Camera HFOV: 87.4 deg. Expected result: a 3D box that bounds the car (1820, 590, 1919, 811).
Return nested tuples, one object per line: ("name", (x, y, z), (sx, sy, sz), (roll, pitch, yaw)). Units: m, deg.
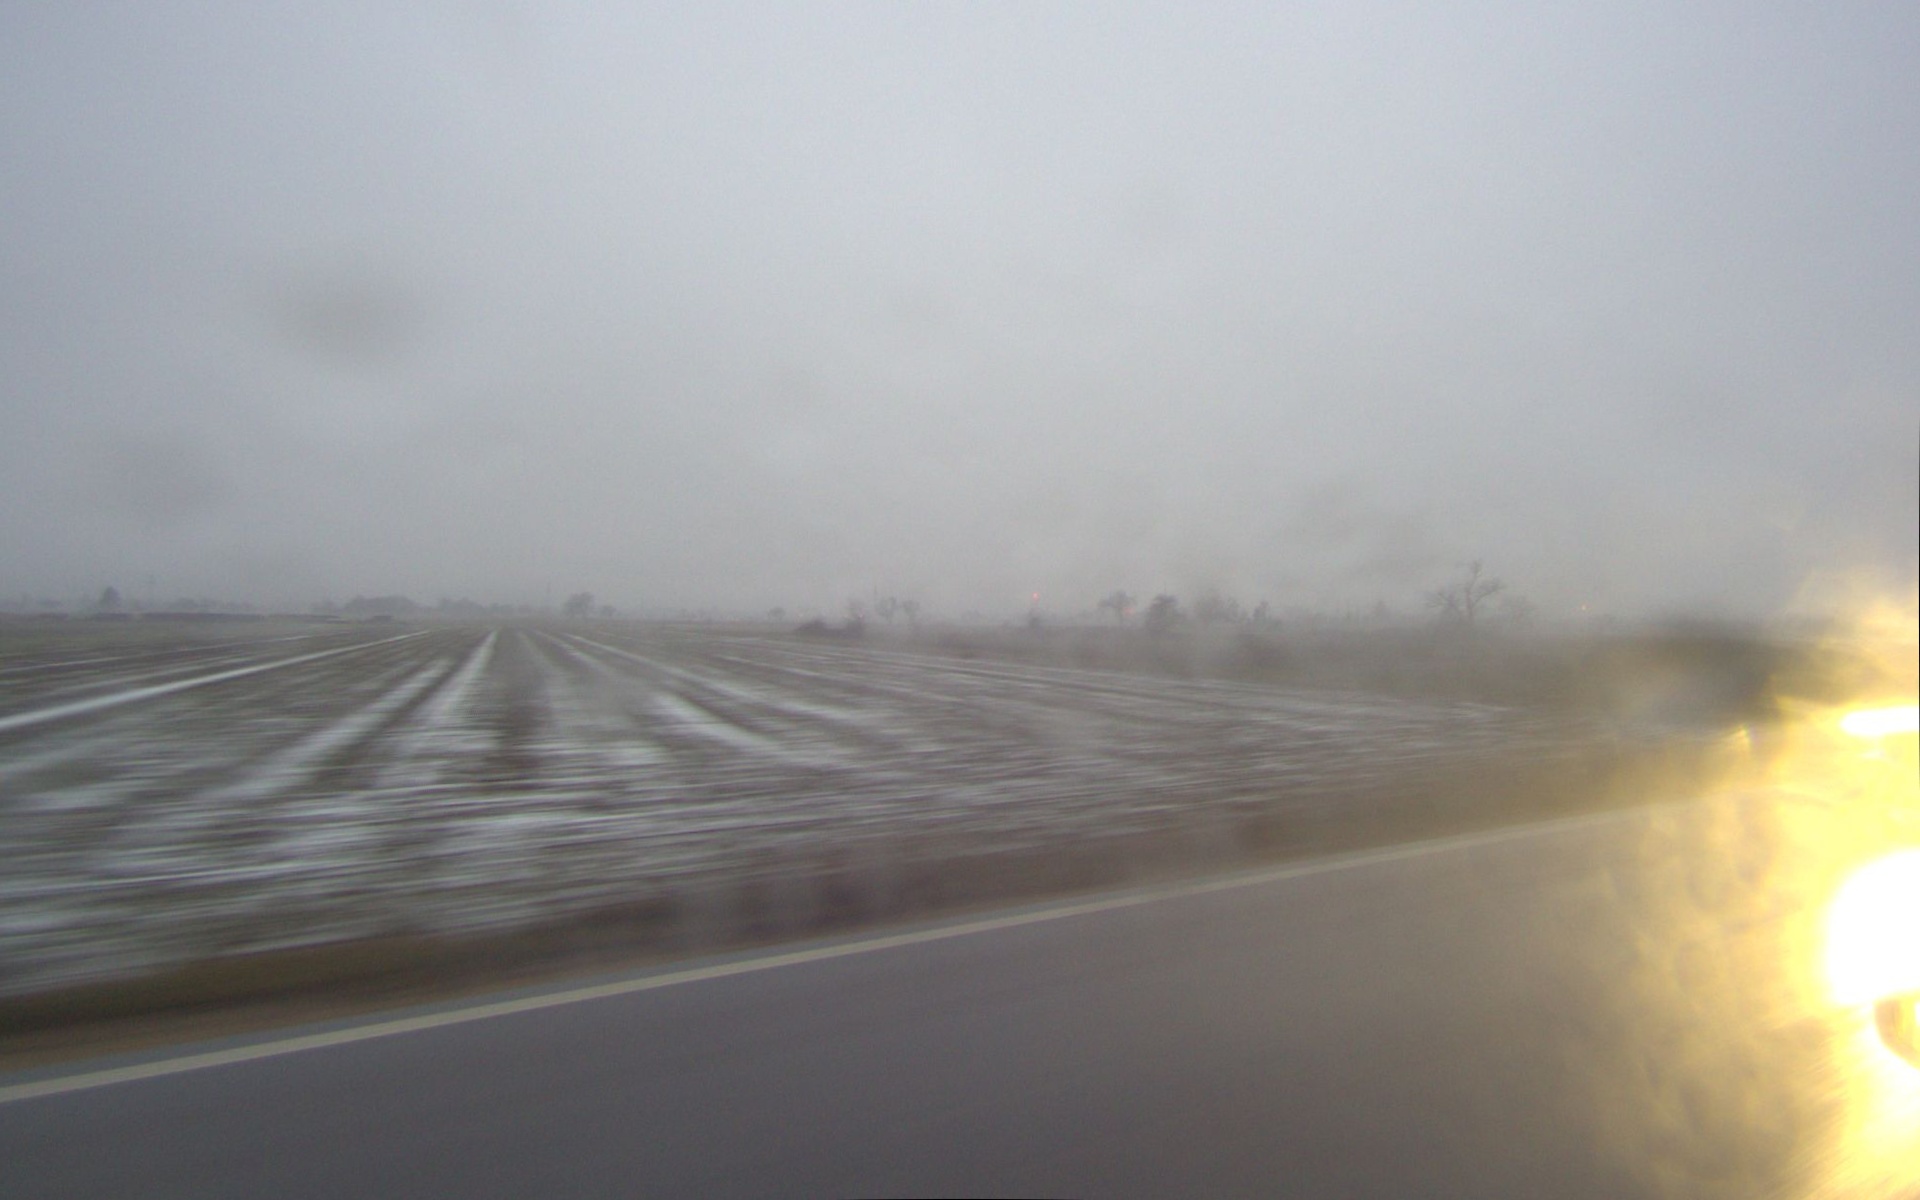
("car", (9.907, 0.869, 9.146), (3.954, 1.846, 1.984), (1, -3, -31))
